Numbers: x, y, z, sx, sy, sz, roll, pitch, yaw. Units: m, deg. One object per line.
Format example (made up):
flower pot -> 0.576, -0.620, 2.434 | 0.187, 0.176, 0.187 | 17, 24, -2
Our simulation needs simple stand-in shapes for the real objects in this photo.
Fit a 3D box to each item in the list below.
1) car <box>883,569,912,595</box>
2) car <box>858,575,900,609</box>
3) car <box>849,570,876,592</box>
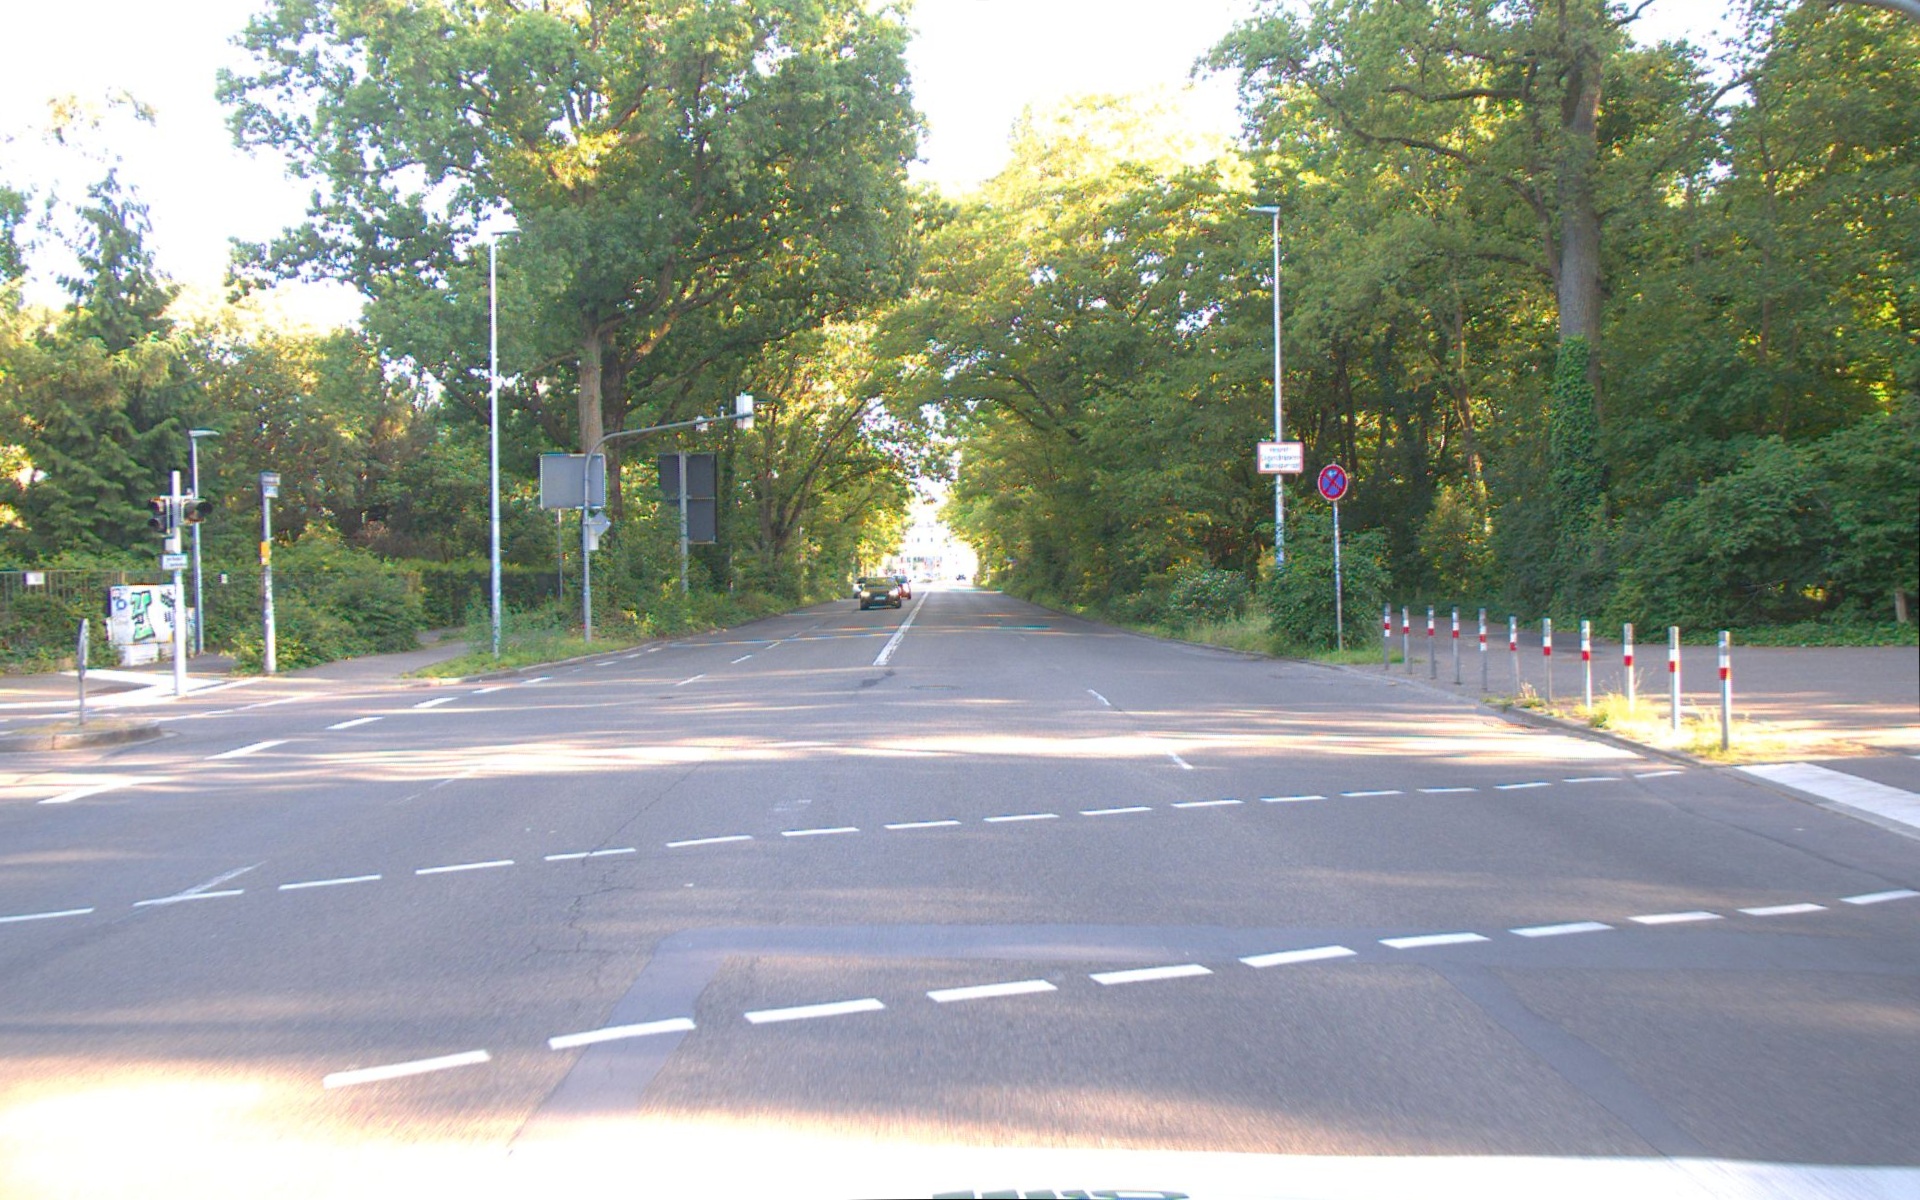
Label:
car -> -3.849, -1.118, 102.261 | 1.761, 1.532, 4.363 | -2, 1, -2
car -> -3.802, -0.399, 78.394 | 1.849, 1.532, 4.363 | -2, 1, -2
car -> -7.140, -1.381, 121.264 | 1.761, 1.532, 4.363 | -2, 1, -2
